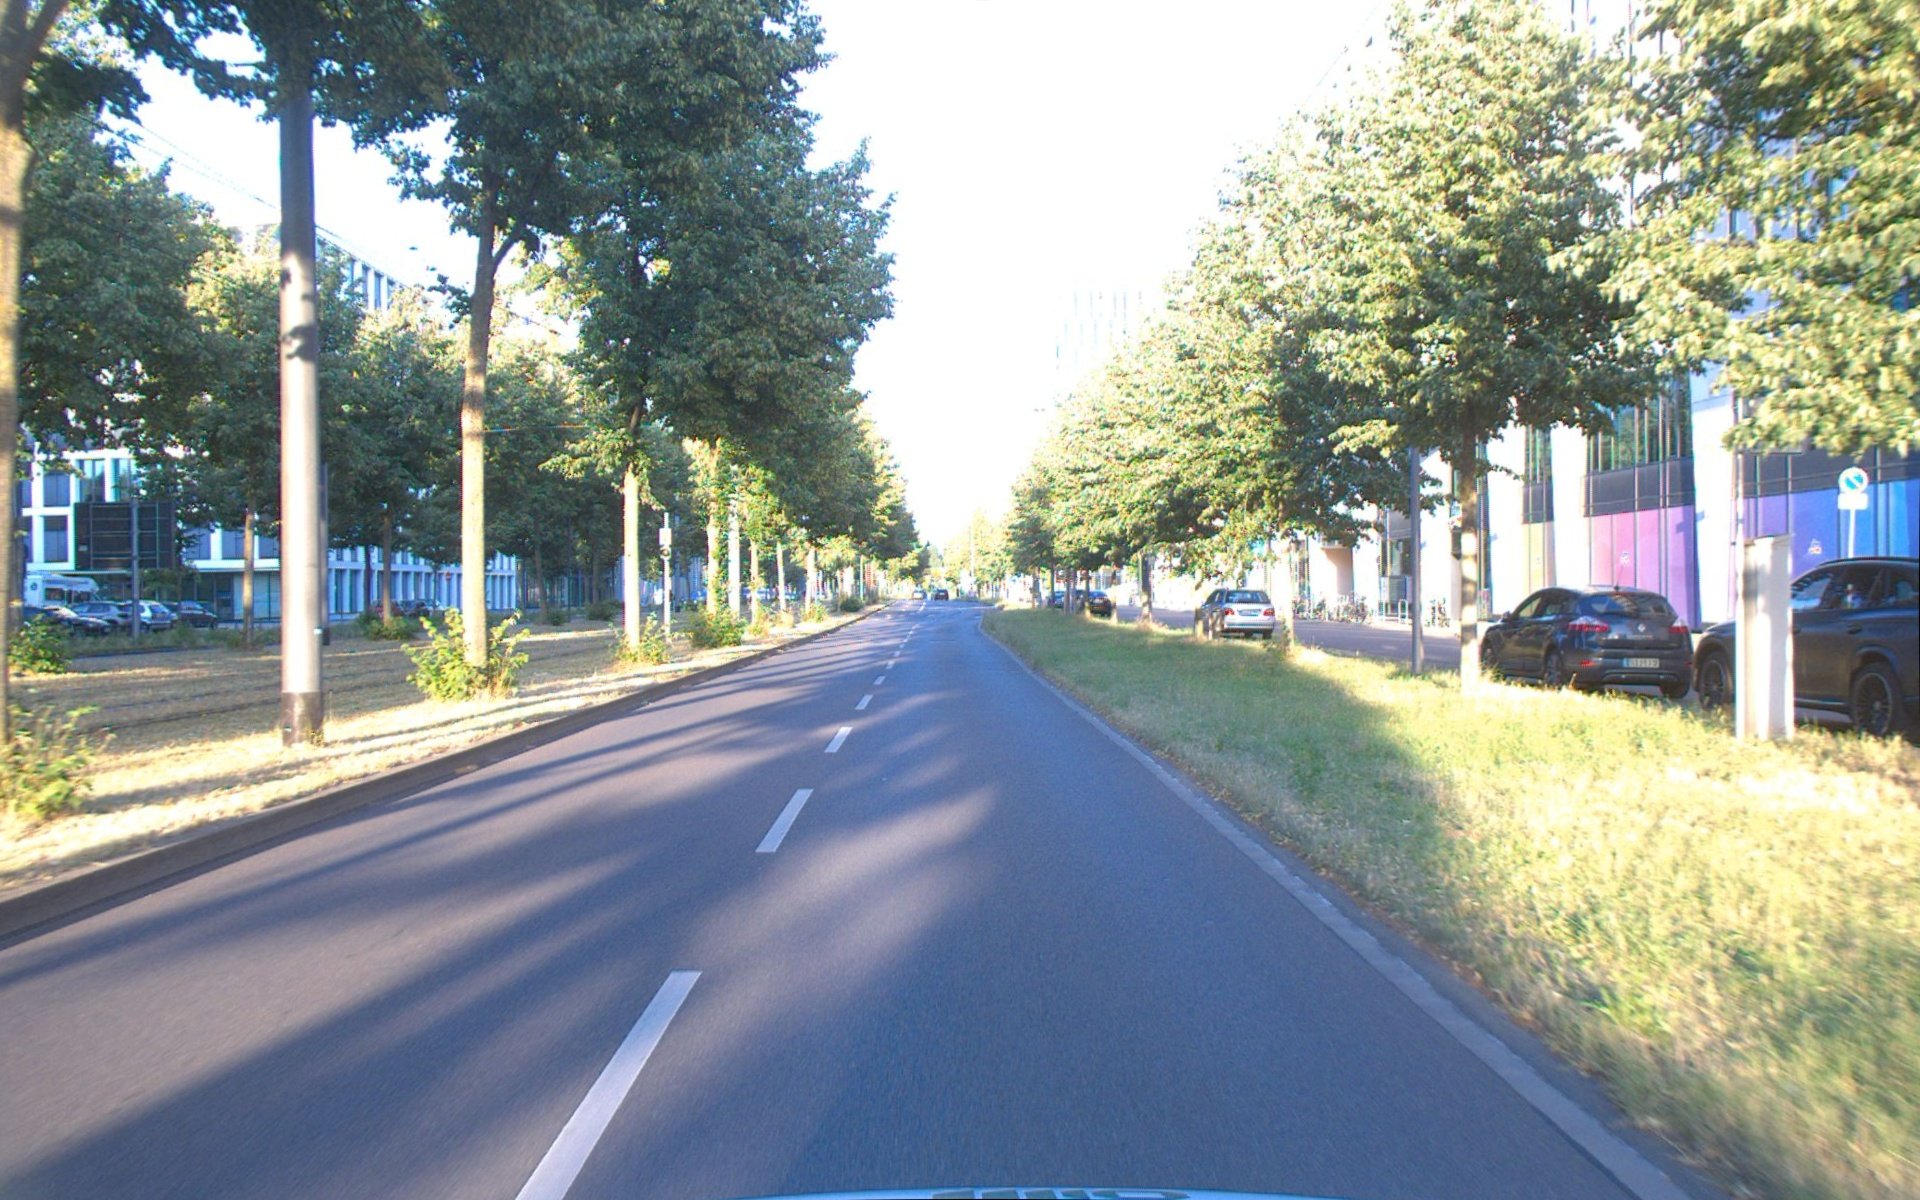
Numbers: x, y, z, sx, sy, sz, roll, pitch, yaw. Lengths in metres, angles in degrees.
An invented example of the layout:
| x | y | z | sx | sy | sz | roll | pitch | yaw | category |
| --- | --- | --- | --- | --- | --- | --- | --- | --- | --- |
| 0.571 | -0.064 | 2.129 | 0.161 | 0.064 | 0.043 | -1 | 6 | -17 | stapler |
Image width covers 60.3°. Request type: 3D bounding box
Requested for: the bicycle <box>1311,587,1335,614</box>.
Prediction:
| x | y | z | sx | sy | sz | roll | pitch | yaw | category |
| --- | --- | --- | --- | --- | --- | --- | --- | --- | --- |
| 14.795 | 0.005 | 67.385 | 0.522 | 1.079 | 1.857 | -2 | 1 | -1 | bicycle |

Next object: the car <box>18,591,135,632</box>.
| x | y | z | sx | sy | sz | roll | pitch | yaw | category |
| --- | --- | --- | --- | --- | --- | --- | --- | --- | --- |
| -37.664 | 0.480 | 70.587 | 3.908 | 1.668 | 1.920 | -1 | 0 | -4 | car |

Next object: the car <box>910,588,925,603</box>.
| x | y | z | sx | sy | sz | roll | pitch | yaw | category |
| --- | --- | --- | --- | --- | --- | --- | --- | --- | --- |
| -5.883 | -0.647 | 228.954 | 2.045 | 2.049 | 3.999 | 0 | 1 | -2 | car |

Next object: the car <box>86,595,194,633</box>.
| x | y | z | sx | sy | sz | roll | pitch | yaw | category |
| --- | --- | --- | --- | --- | --- | --- | --- | --- | --- |
| -37.114 | 0.627 | 74.947 | 3.908 | 1.668 | 1.920 | -1 | 0 | -4 | car |

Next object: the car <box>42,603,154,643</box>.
| x | y | z | sx | sy | sz | roll | pitch | yaw | category |
| --- | --- | --- | --- | --- | --- | --- | --- | --- | --- |
| -37.898 | 0.991 | 72.792 | 3.908 | 1.668 | 1.920 | -1 | 0 | -4 | car |

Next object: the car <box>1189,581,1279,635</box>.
| x | y | z | sx | sy | sz | roll | pitch | yaw | category |
| --- | --- | --- | --- | --- | --- | --- | --- | --- | --- |
| 8.158 | 0.193 | 49.709 | 1.772 | 1.527 | 4.824 | 0 | 1 | -2 | car |

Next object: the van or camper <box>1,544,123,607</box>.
| x | y | z | sx | sy | sz | roll | pitch | yaw | category |
| --- | --- | --- | --- | --- | --- | --- | --- | --- | --- |
| -46.239 | -1.233 | 85.387 | 2.654 | 3.139 | 6.265 | 0 | 0 | 3 | van or camper |

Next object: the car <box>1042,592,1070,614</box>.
| x | y | z | sx | sy | sz | roll | pitch | yaw | category |
| --- | --- | --- | --- | --- | --- | --- | --- | --- | --- |
| 6.907 | 0.227 | 119.393 | 1.689 | 1.556 | 4.267 | 1 | 0 | -1 | car |

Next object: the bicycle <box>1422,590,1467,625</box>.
| x | y | z | sx | sy | sz | roll | pitch | yaw | category |
| --- | --- | --- | --- | --- | --- | --- | --- | --- | --- |
| 15.579 | 0.238 | 53.196 | 0.524 | 1.079 | 1.851 | -3 | 1 | -13 | bicycle |

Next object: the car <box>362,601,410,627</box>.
| x | y | z | sx | sy | sz | roll | pitch | yaw | category |
| --- | --- | --- | --- | --- | --- | --- | --- | --- | --- |
| -36.412 | 0.870 | 105.071 | 1.822 | 1.609 | 3.492 | 0 | 0 | 0 | car |

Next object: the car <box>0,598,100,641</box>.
| x | y | z | sx | sy | sz | roll | pitch | yaw | category |
| --- | --- | --- | --- | --- | --- | --- | --- | --- | --- |
| -37.658 | 0.790 | 67.697 | 3.908 | 1.668 | 1.920 | -1 | 0 | -4 | car |

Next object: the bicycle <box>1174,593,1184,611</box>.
| x | y | z | sx | sy | sz | roll | pitch | yaw | category |
| --- | --- | --- | --- | --- | --- | --- | --- | --- | --- |
| 14.177 | 0.118 | 107.092 | 0.558 | 1.144 | 1.835 | -2 | 1 | 10 | bicycle |

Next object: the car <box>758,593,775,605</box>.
| x | y | z | sx | sy | sz | roll | pitch | yaw | category |
| --- | --- | --- | --- | --- | --- | --- | --- | --- | --- |
| -22.016 | -0.083 | 188.439 | 1.624 | 1.355 | 4.528 | -1 | 0 | -2 | car |

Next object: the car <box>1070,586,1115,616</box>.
| x | y | z | sx | sy | sz | roll | pitch | yaw | category |
| --- | --- | --- | --- | --- | --- | --- | --- | --- | --- |
| 7.453 | 0.045 | 93.388 | 1.905 | 1.576 | 4.809 | -1 | 0 | -3 | car |

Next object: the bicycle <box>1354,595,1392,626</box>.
| x | y | z | sx | sy | sz | roll | pitch | yaw | category |
| --- | --- | --- | --- | --- | --- | --- | --- | --- | --- |
| 14.802 | 0.362 | 59.337 | 0.524 | 1.079 | 1.851 | -3 | 1 | -13 | bicycle |

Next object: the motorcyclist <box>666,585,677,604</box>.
| x | y | z | sx | sy | sz | roll | pitch | yaw | category |
| --- | --- | --- | --- | --- | --- | --- | --- | --- | --- |
| -21.049 | -0.414 | 120.681 | 0.667 | 1.399 | 0.804 | -1 | 0 | -2 | motorcyclist |

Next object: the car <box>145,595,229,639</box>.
| x | y | z | sx | sy | sz | roll | pitch | yaw | category |
| --- | --- | --- | --- | --- | --- | --- | --- | --- | --- |
| -38.327 | 0.810 | 82.132 | 1.953 | 2.049 | 4.930 | -1 | 0 | -1 | car |

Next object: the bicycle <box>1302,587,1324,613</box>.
| x | y | z | sx | sy | sz | roll | pitch | yaw | category |
| --- | --- | --- | --- | --- | --- | --- | --- | --- | --- |
| 14.904 | 0.010 | 69.884 | 0.522 | 1.079 | 1.857 | -1 | 0 | -1 | bicycle |

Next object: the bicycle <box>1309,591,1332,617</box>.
| x | y | z | sx | sy | sz | roll | pitch | yaw | category |
| --- | --- | --- | --- | --- | --- | --- | --- | --- | --- |
| 15.449 | 0.158 | 70.841 | 0.522 | 1.079 | 1.857 | -2 | 0 | -1 | bicycle |

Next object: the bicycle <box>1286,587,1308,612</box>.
| x | y | z | sx | sy | sz | roll | pitch | yaw | category |
| --- | --- | --- | --- | --- | --- | --- | --- | --- | --- |
| 14.817 | -0.021 | 72.693 | 0.522 | 1.079 | 1.857 | -2 | 1 | -1 | bicycle |

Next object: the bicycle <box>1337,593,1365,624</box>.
| x | y | z | sx | sy | sz | roll | pitch | yaw | category |
| --- | --- | --- | --- | --- | --- | --- | --- | --- | --- |
| 14.467 | 0.313 | 61.267 | 0.522 | 1.079 | 1.857 | -2 | 1 | -1 | bicycle |

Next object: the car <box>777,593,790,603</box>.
| x | y | z | sx | sy | sz | roll | pitch | yaw | category |
| --- | --- | --- | --- | --- | --- | --- | --- | --- | --- |
| -25.352 | -0.272 | 237.616 | 1.740 | 1.436 | 3.707 | -1 | 0 | -3 | car |

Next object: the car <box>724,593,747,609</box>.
| x | y | z | sx | sy | sz | roll | pitch | yaw | category |
| --- | --- | --- | --- | --- | --- | --- | --- | --- | --- |
| -22.309 | 0.098 | 164.614 | 1.847 | 1.605 | 4.181 | -1 | 0 | -2 | car |

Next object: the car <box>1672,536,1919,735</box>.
| x | y | z | sx | sy | sz | roll | pitch | yaw | category |
| --- | --- | --- | --- | --- | --- | --- | --- | --- | --- |
| 8.858 | 0.303 | 15.794 | 1.914 | 1.652 | 4.819 | 2 | 0 | -1 | car |

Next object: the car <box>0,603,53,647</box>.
| x | y | z | sx | sy | sz | roll | pitch | yaw | category |
| --- | --- | --- | --- | --- | --- | --- | --- | --- | --- |
| -38.155 | 0.995 | 65.055 | 3.902 | 1.668 | 1.923 | -1 | 0 | 6 | car |

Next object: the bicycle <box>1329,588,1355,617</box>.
| x | y | z | sx | sy | sz | roll | pitch | yaw | category |
| --- | --- | --- | --- | --- | --- | --- | --- | --- | --- |
| 14.790 | 0.100 | 64.004 | 0.522 | 1.079 | 1.857 | -2 | 1 | -1 | bicycle |

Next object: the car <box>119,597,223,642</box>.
| x | y | z | sx | sy | sz | roll | pitch | yaw | category |
| --- | --- | --- | --- | --- | --- | --- | --- | --- | --- |
| -37.102 | 0.898 | 77.809 | 3.908 | 2.049 | 1.998 | -1 | 0 | -4 | car |

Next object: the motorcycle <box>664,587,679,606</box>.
| x | y | z | sx | sy | sz | roll | pitch | yaw | category |
| --- | --- | --- | --- | --- | --- | --- | --- | --- | --- |
| -21.042 | -0.260 | 120.653 | 0.668 | 1.360 | 2.344 | -1 | 0 | -2 | motorcycle |

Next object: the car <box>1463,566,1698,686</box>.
| x | y | z | sx | sy | sz | roll | pitch | yaw | category |
| --- | --- | --- | --- | --- | --- | --- | --- | --- | --- |
| 8.594 | 0.311 | 23.306 | 1.689 | 1.527 | 4.232 | 1 | 1 | -1 | car |

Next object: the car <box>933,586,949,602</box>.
| x | y | z | sx | sy | sz | roll | pitch | yaw | category |
| --- | --- | --- | --- | --- | --- | --- | --- | --- | --- |
| -2.412 | -0.754 | 212.838 | 1.953 | 2.049 | 3.999 | 0 | 1 | -2 | car |

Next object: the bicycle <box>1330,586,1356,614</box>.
| x | y | z | sx | sy | sz | roll | pitch | yaw | category |
| --- | --- | --- | --- | --- | --- | --- | --- | --- | --- |
| 15.346 | -0.021 | 66.295 | 0.522 | 1.079 | 1.857 | -2 | 1 | -1 | bicycle |

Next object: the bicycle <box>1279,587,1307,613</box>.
| x | y | z | sx | sy | sz | roll | pitch | yaw | category |
| --- | --- | --- | --- | --- | --- | --- | --- | --- | --- |
| 14.164 | 0.001 | 70.389 | 0.523 | 1.079 | 1.776 | -3 | 1 | -10 | bicycle |

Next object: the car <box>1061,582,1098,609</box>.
| x | y | z | sx | sy | sz | roll | pitch | yaw | category |
| --- | --- | --- | --- | --- | --- | --- | --- | --- | --- |
| 7.265 | -0.280 | 100.734 | 1.817 | 1.556 | 4.482 | 1 | 0 | -1 | car |

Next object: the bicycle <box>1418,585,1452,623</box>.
| x | y | z | sx | sy | sz | roll | pitch | yaw | category |
| --- | --- | --- | --- | --- | --- | --- | --- | --- | --- |
| 15.255 | 0.127 | 53.157 | 0.527 | 1.184 | 1.781 | -2 | 1 | 0 | bicycle |

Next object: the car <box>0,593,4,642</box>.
| x | y | z | sx | sy | sz | roll | pitch | yaw | category |
| --- | --- | --- | --- | --- | --- | --- | --- | --- | --- |
| -38.528 | 0.689 | 62.215 | 3.905 | 1.877 | 2.012 | -1 | 0 | -1 | car |
